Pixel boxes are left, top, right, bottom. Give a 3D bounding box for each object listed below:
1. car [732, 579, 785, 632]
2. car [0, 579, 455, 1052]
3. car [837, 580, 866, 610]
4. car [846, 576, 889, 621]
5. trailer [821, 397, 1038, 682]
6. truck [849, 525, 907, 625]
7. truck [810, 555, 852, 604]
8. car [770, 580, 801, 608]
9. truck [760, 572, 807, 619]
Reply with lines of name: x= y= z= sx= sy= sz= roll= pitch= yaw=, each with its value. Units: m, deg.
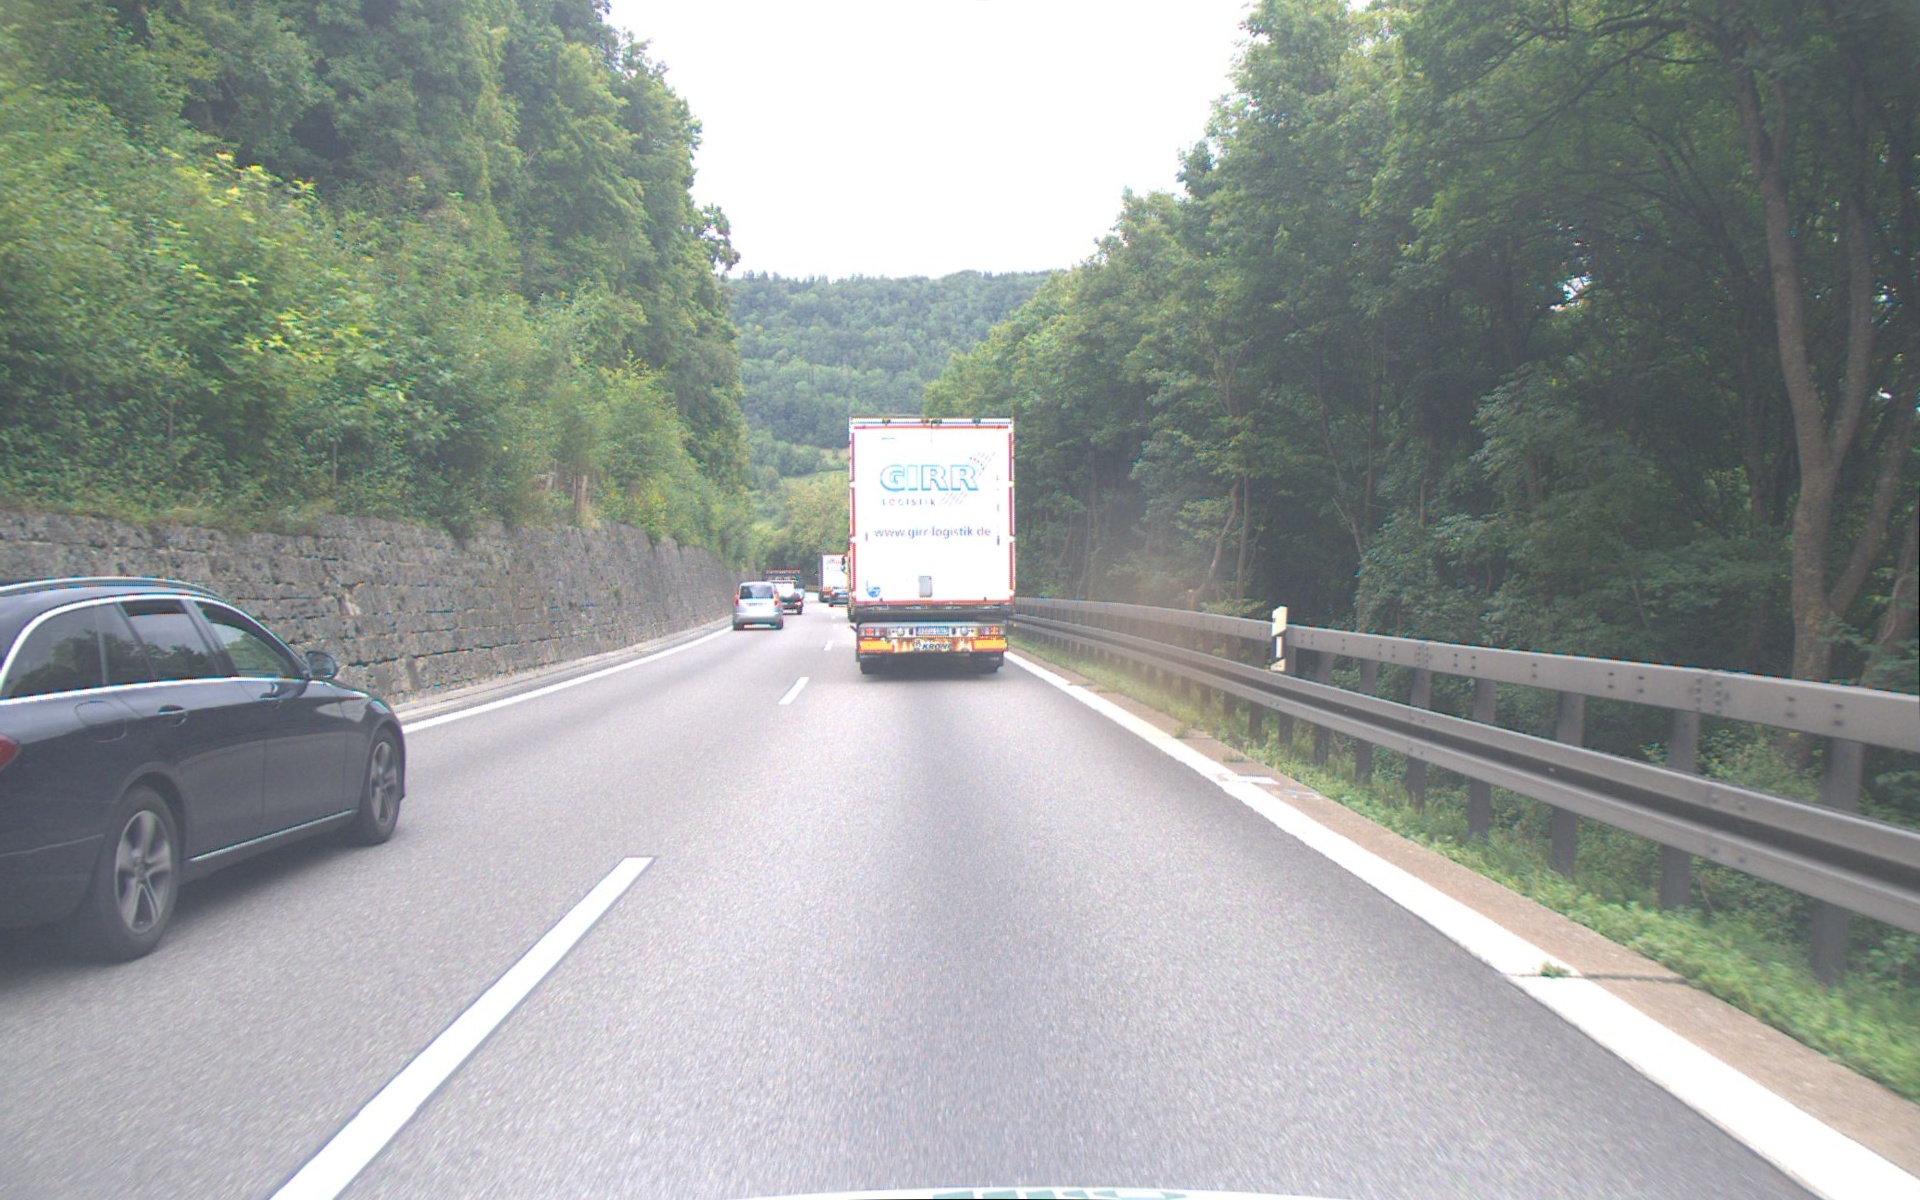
car: x=-6.967 y=0.164 z=57.484 sx=1.602 sy=1.757 sz=4.341 roll=0 pitch=0 yaw=-4
car: x=-3.943 y=0.657 z=7.630 sx=1.725 sy=1.489 sz=5.122 roll=0 pitch=1 yaw=-1
car: x=-7.696 y=-0.336 z=117.506 sx=1.954 sy=2.049 sz=3.996 roll=2 pitch=0 yaw=-4
car: x=-4.471 y=-0.067 z=79.321 sx=1.954 sy=2.049 sz=4.330 roll=2 pitch=0 yaw=-4
trailer: x=-0.655 y=-0.950 z=29.504 sx=3.070 sy=4.113 sz=9.435 roll=3 pitch=0 yaw=-3
truck: x=-3.384 y=-0.971 z=68.521 sx=2.189 sy=3.870 sz=6.819 roll=2 pitch=0 yaw=-3
truck: x=-11.009 y=-1.669 z=140.580 sx=3.011 sy=3.945 sz=8.443 roll=2 pitch=0 yaw=-8
car: x=-12.513 y=-0.441 z=118.686 sx=1.978 sy=1.947 sz=5.558 roll=2 pitch=0 yaw=-4
truck: x=-9.277 y=-0.241 z=87.009 sx=2.304 sy=2.313 sz=6.841 roll=1 pitch=0 yaw=-6
